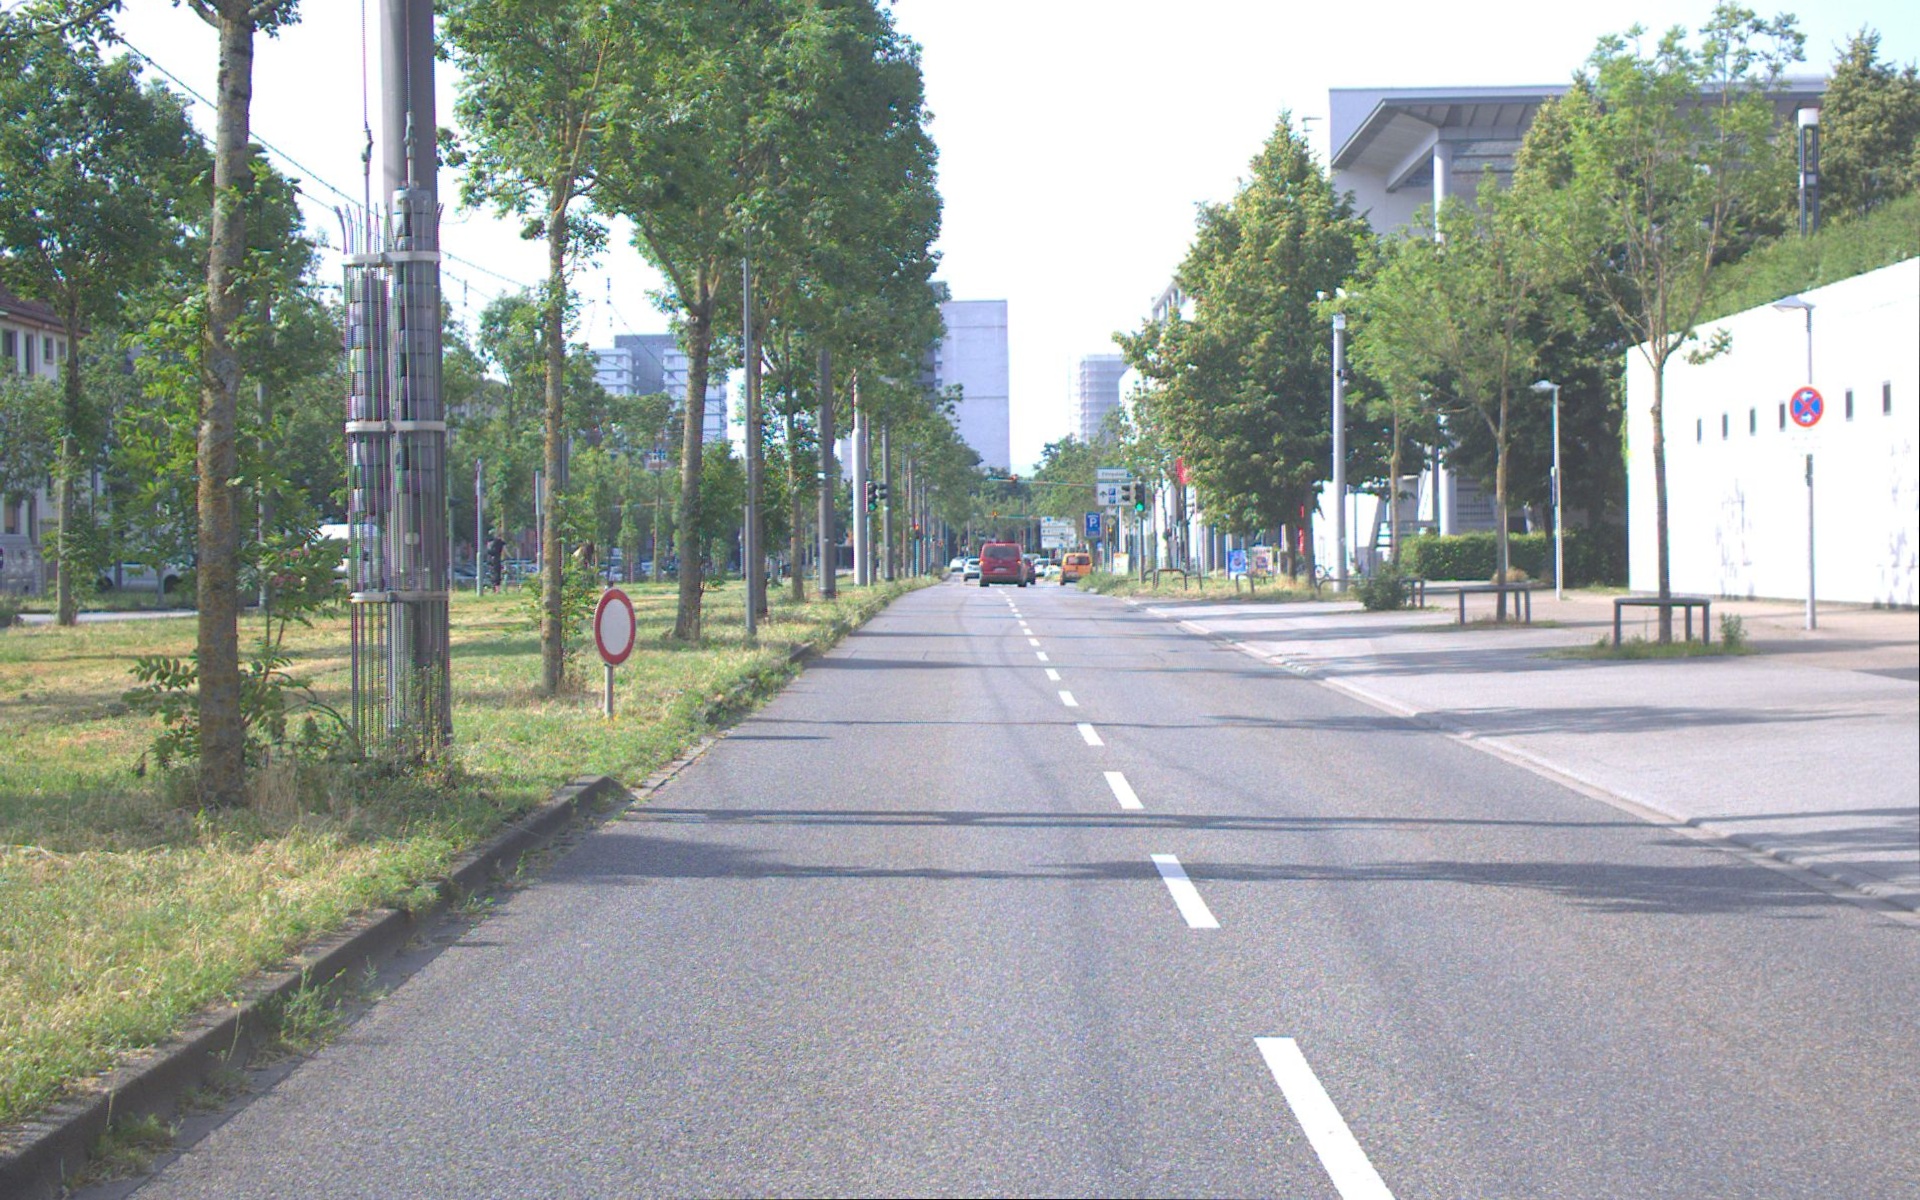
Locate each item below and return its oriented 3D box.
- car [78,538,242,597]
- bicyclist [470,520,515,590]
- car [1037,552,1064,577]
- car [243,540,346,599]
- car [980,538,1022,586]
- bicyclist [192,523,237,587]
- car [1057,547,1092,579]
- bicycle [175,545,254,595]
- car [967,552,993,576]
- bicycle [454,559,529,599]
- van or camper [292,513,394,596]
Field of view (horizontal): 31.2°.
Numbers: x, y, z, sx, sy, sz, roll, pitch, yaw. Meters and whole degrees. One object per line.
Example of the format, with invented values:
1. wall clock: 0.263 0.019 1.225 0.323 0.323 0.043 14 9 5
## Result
1. car: -25.589 -1.048 109.886 5.320 1.732 1.996 2 1 34
2. bicyclist: -13.195 -1.278 97.042 1.146 1.927 0.686 2 0 -4
3. car: 6.254 -2.447 237.938 1.748 1.645 3.215 2 0 1
4. car: -20.171 -0.923 104.379 1.965 1.688 4.296 2 0 4
5. car: 1.795 -1.632 148.964 1.748 2.007 3.215 2 0 1
6. bicyclist: -20.844 -1.250 96.108 1.146 1.756 0.686 2 0 -9
7. car: 6.119 -1.952 183.811 1.748 1.645 3.215 2 0 1
8. bicycle: -20.831 -0.841 96.107 2.066 1.319 0.784 2 0 -8
9. car: 1.394 -2.518 243.359 1.748 1.645 3.215 2 0 1
10. bicycle: -13.223 -0.594 97.026 2.066 1.039 0.668 2 0 -6
11. van or camper: -19.925 -1.462 111.318 2.203 2.522 6.030 2 0 0
